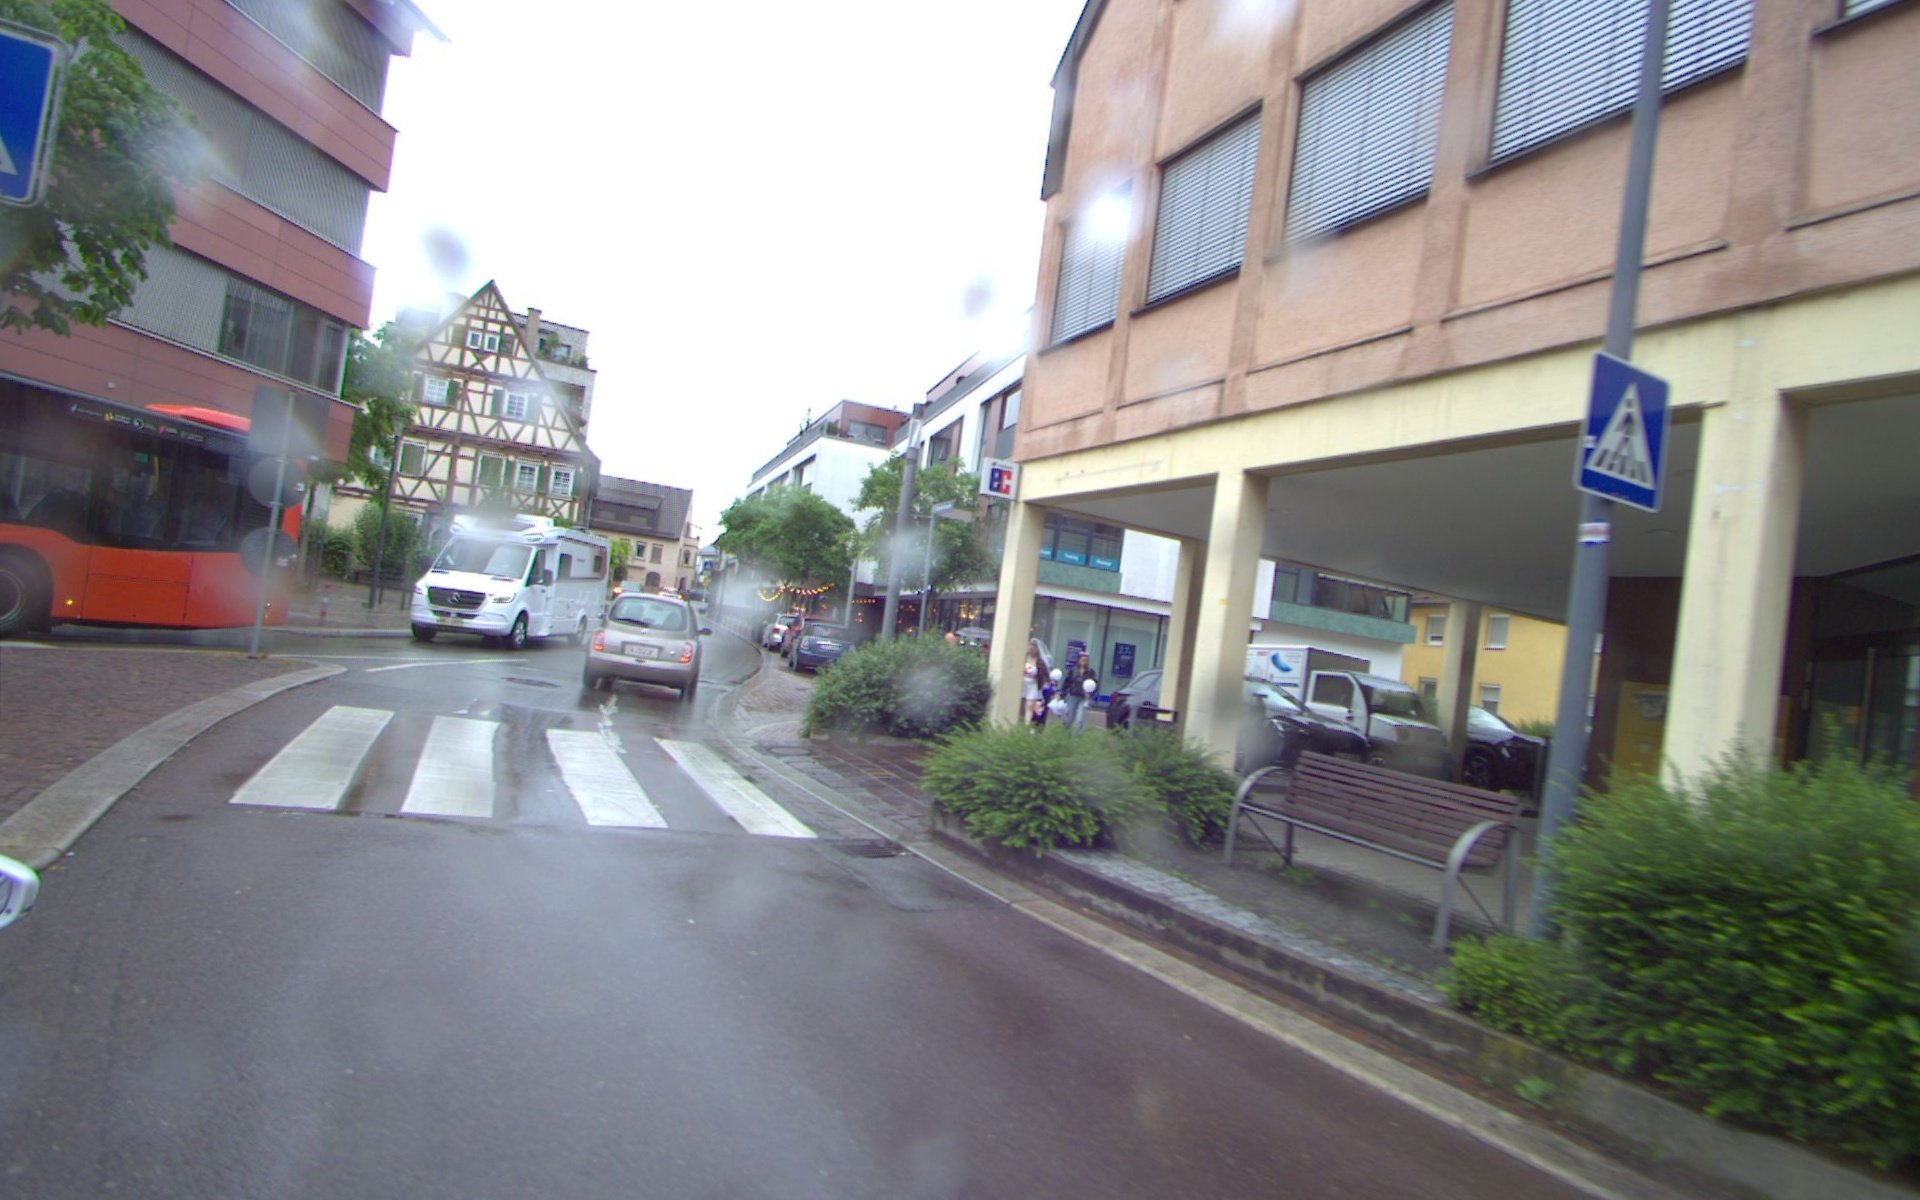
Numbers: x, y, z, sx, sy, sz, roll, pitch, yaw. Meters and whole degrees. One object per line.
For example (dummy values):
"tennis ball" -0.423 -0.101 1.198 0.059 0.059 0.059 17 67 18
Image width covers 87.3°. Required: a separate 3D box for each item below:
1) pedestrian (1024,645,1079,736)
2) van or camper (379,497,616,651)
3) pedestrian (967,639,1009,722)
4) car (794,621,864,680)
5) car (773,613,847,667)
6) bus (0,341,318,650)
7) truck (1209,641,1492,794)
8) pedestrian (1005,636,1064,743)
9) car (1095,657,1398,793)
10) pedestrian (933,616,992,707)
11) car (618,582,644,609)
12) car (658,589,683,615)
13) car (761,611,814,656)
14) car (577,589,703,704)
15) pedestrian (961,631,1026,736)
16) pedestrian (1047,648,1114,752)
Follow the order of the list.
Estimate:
"pedestrian" 1.841 1.815 20.283 0.627 1.709 0.739 8 -1 -23
"van or camper" -9.932 -0.413 22.492 2.402 2.615 6.749 7 -2 -5
"pedestrian" 0.597 1.706 21.429 0.535 1.682 0.518 8 -1 -22
"car" -3.788 1.384 28.613 1.517 1.377 3.367 8 -2 -12
"car" -5.123 1.301 33.952 1.605 1.519 3.984 6 -1 -20
"bus" -12.023 -1.444 9.382 2.769 3.123 10.621 6 -3 18
"truck" 6.075 1.772 16.157 1.747 1.828 3.978 8 -2 -25
"pedestrian" 1.270 1.519 17.252 0.712 1.709 0.733 7 -1 -3
"car" 3.968 1.726 14.826 1.746 1.290 4.448 8 -3 -24
"pedestrian" 0.047 1.285 21.222 0.727 1.769 0.888 8 -1 -24
"car" -24.178 -0.292 73.928 1.569 1.732 3.308 8 -2 -19
"car" -22.426 0.147 77.850 1.655 1.732 3.311 8 -2 -17
"car" -6.714 1.262 38.924 1.595 1.431 3.990 5 -1 -14
"car" -5.044 0.692 16.222 1.503 1.488 3.334 8 -2 -13
"pedestrian" 0.568 1.422 17.369 0.688 1.680 0.818 8 -1 -17
"pedestrian" 2.102 1.725 17.609 0.949 1.657 0.735 7 -1 6
